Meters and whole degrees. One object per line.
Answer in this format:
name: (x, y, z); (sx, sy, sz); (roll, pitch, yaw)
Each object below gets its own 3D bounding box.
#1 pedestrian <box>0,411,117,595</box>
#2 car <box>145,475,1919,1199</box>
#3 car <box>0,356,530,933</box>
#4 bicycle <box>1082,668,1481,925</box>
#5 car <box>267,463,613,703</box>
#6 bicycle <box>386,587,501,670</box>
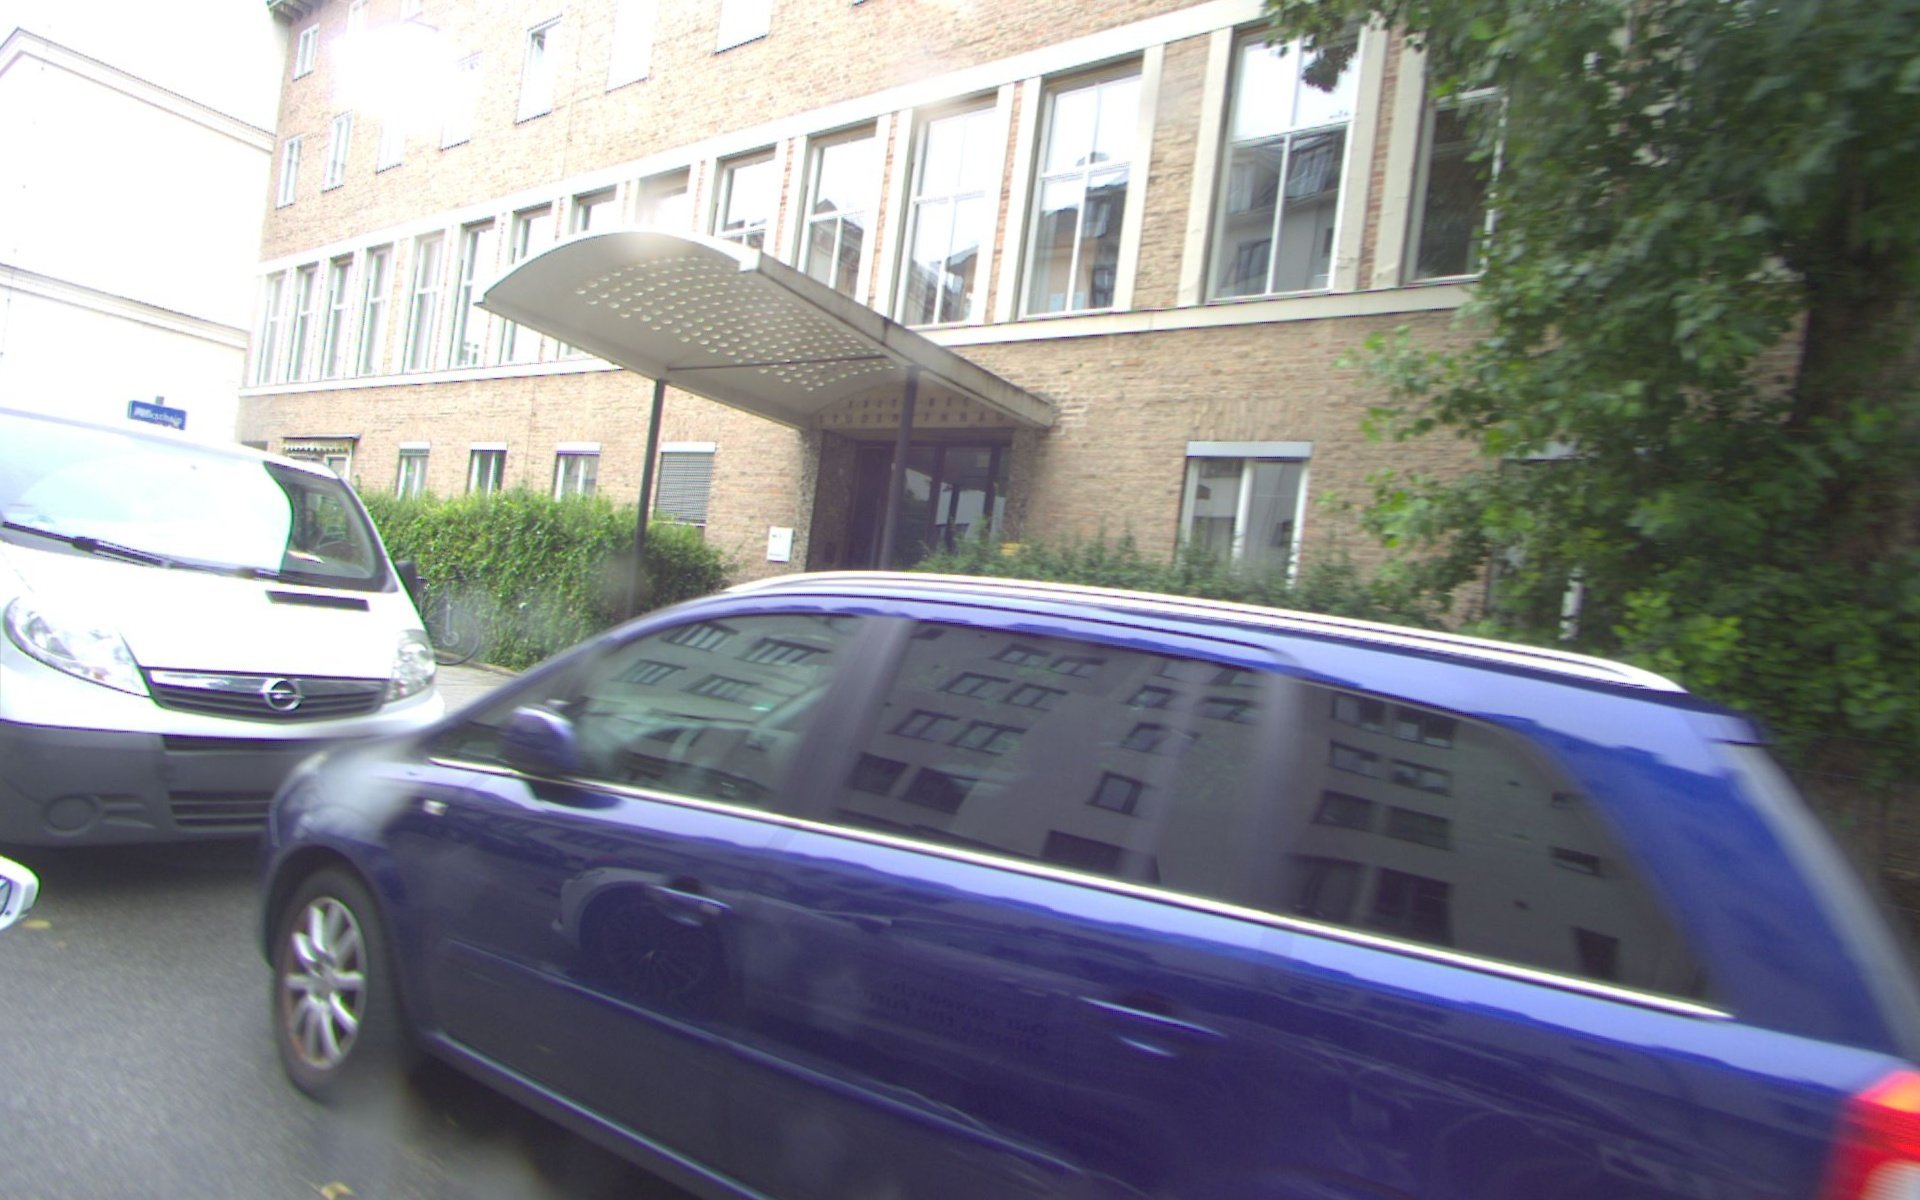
pedestrian: (-11.820, -1.249, 13.131); (0.800, 2.223, 0.795); (8, 0, 31)
car: (-0.120, 0.751, 2.853); (4.142, 1.619, 1.812); (8, -1, 28)
car: (-4.712, -0.009, 5.432); (4.795, 1.947, 1.885); (8, -1, 33)
bicycle: (1.967, 1.139, 6.333); (2.186, 1.087, 0.671); (8, 0, 31)
car: (-5.560, -0.201, 10.712); (3.204, 2.037, 1.667); (8, -1, 32)
bicycle: (-6.383, 0.347, 12.425); (1.409, 0.827, 0.517); (8, 0, 31)
